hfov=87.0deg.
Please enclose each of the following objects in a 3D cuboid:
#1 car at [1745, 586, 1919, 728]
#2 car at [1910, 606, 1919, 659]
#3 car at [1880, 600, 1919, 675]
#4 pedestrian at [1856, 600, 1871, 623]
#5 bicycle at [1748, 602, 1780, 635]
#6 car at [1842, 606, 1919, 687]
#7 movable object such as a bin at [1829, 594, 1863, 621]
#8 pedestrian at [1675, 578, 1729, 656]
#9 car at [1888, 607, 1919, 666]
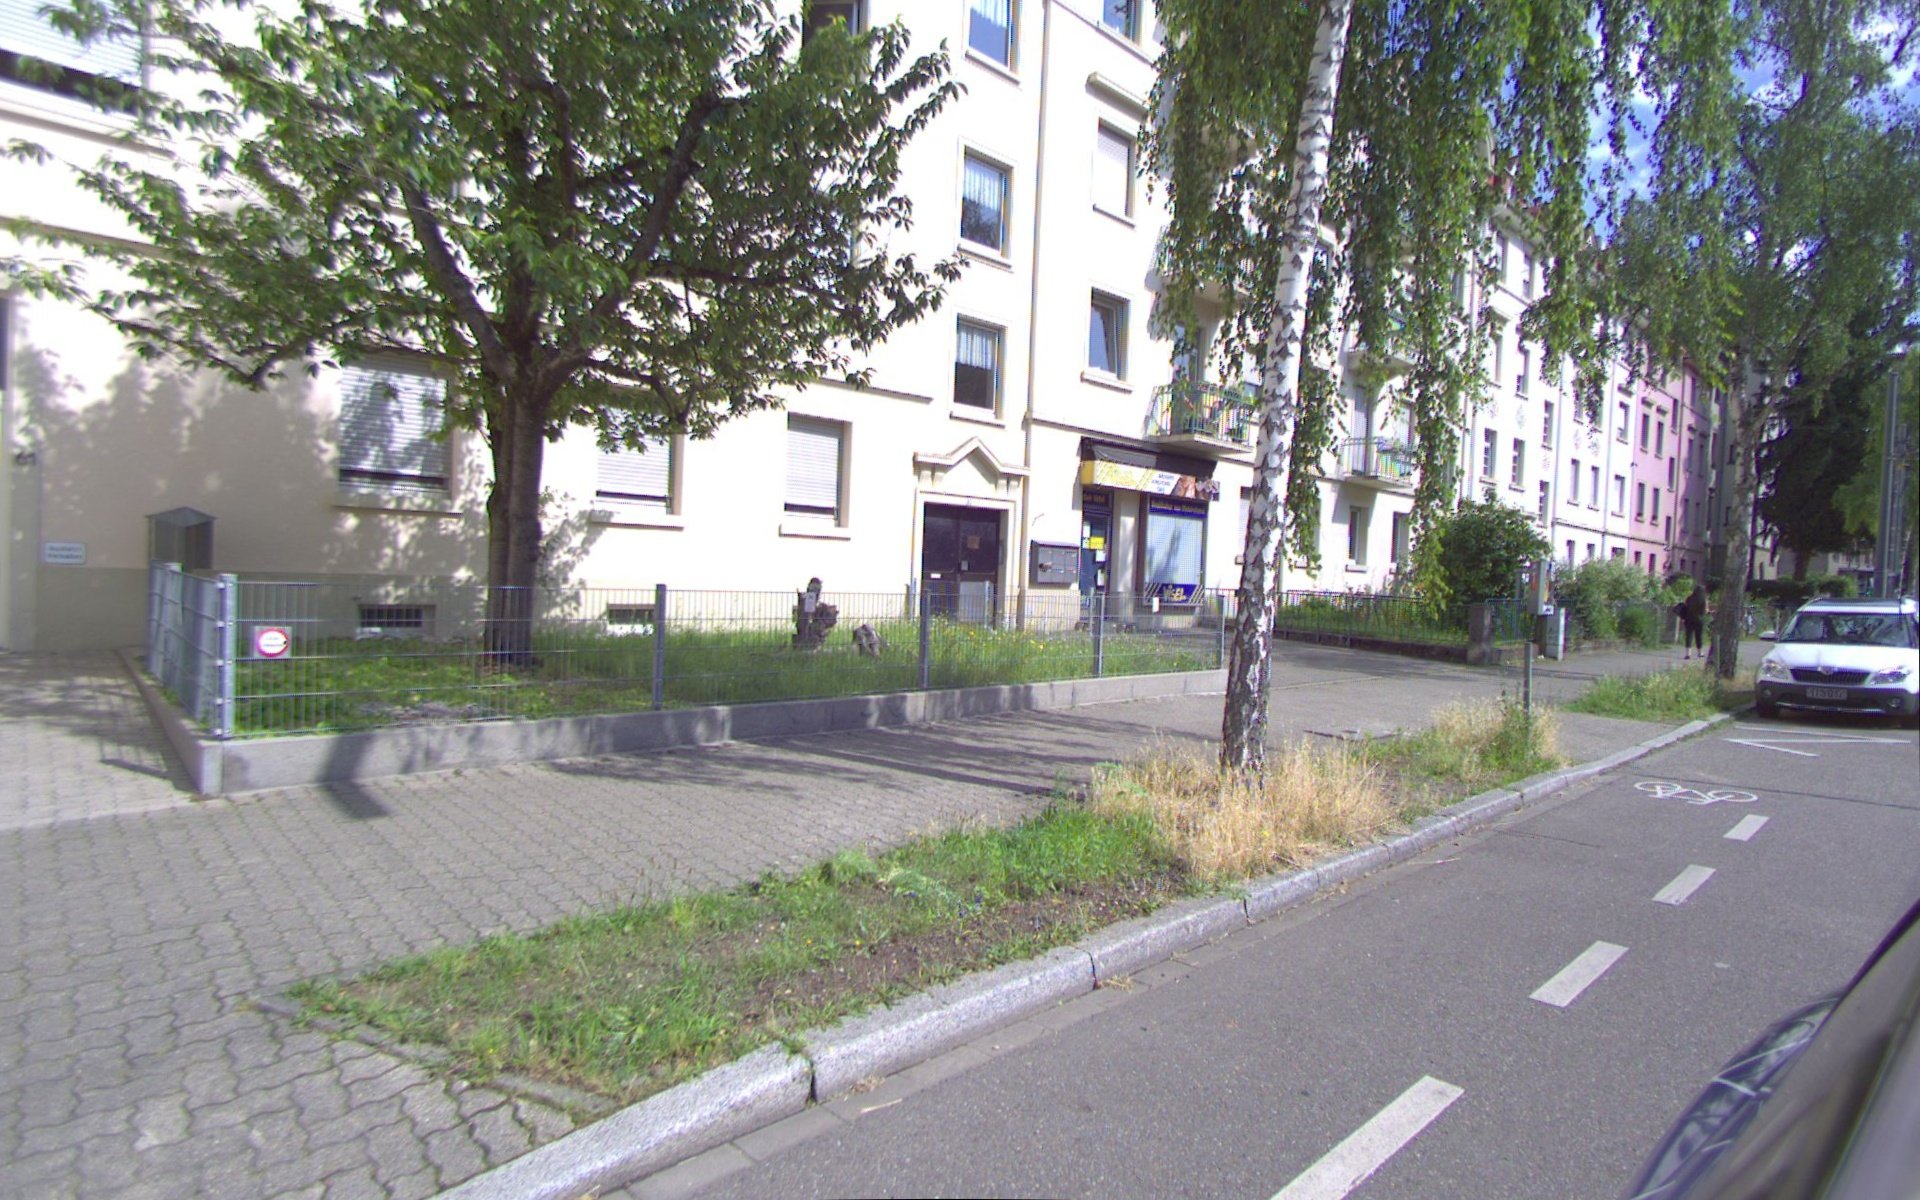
[{"bbox_3d":[12.129,0.662,13.623,3.929,1.650,1.724,0,0,-41],"label":"car"},{"bbox_3d":[28.798,0.907,29.329,3.852,1.471,1.621,0,-1,-43],"label":"car"},{"bbox_3d":[21.974,0.827,22.919,3.697,1.599,1.494,1,0,-45],"label":"car"},{"bbox_3d":[74.104,0.940,83.039,0.731,1.865,0.798,2,1,32],"label":"pedestrian"},{"bbox_3d":[27.808,0.620,35.009,2.145,1.090,0.472,1,2,-42],"label":"bicycle"},{"bbox_3d":[18.372,0.843,19.558,3.732,1.435,1.674,0,0,-44],"label":"car"},{"bbox_3d":[54.651,0.458,62.423,1.966,1.510,1.304,1,2,-42],"label":"movable object such as a bin"},{"bbox_3d":[16.928,0.375,23.101,0.678,1.703,0.732,1,4,-40],"label":"pedestrian"},{"bbox_3d":[25.526,0.923,26.441,3.780,1.471,1.590,0,-1,-43],"label":"car"}]
